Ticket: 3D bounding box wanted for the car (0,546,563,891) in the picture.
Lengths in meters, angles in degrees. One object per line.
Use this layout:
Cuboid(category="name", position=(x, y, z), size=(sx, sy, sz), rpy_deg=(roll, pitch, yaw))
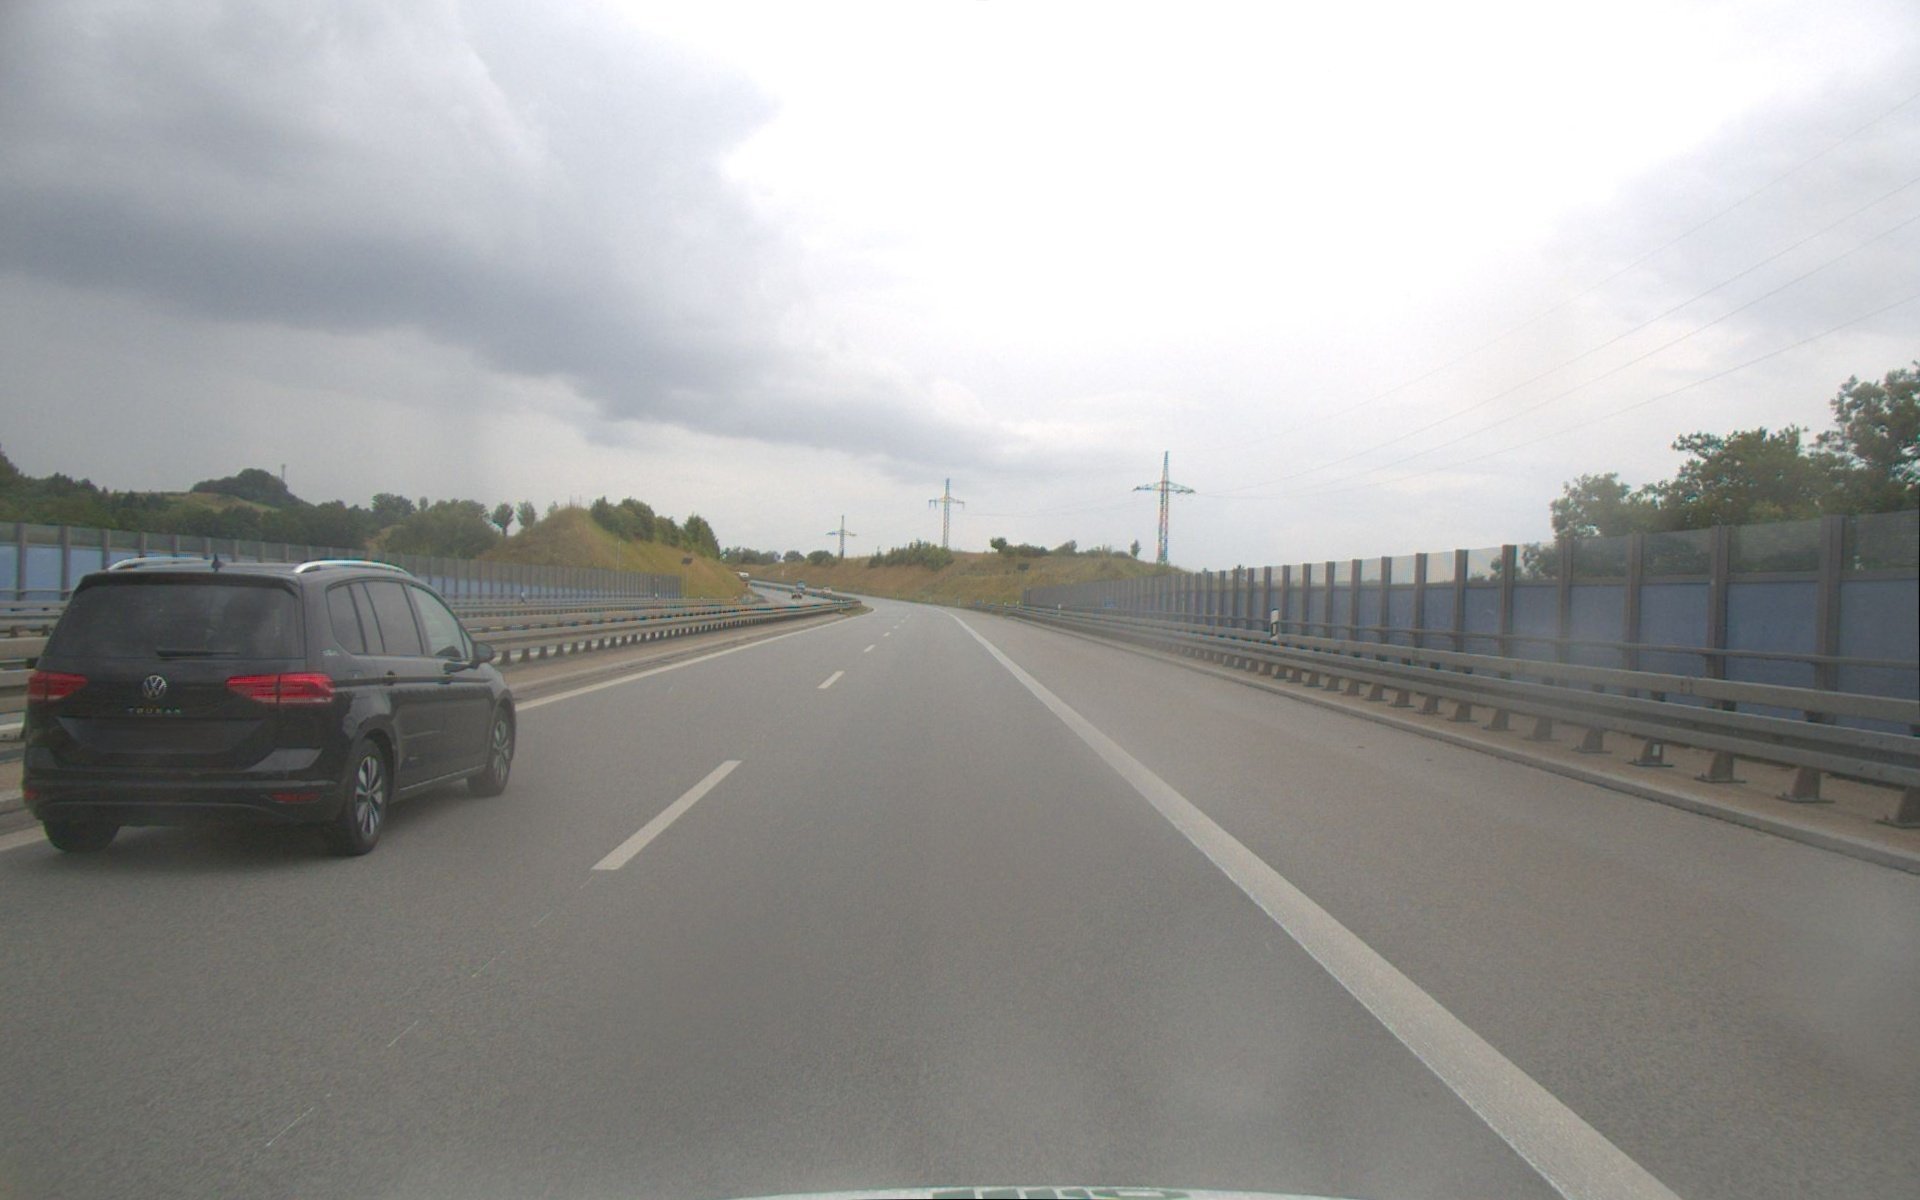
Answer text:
Cuboid(category="car", position=(-4.150, 0.576, 10.963), size=(1.858, 1.700, 5.395), rpy_deg=(1, 0, -2))
